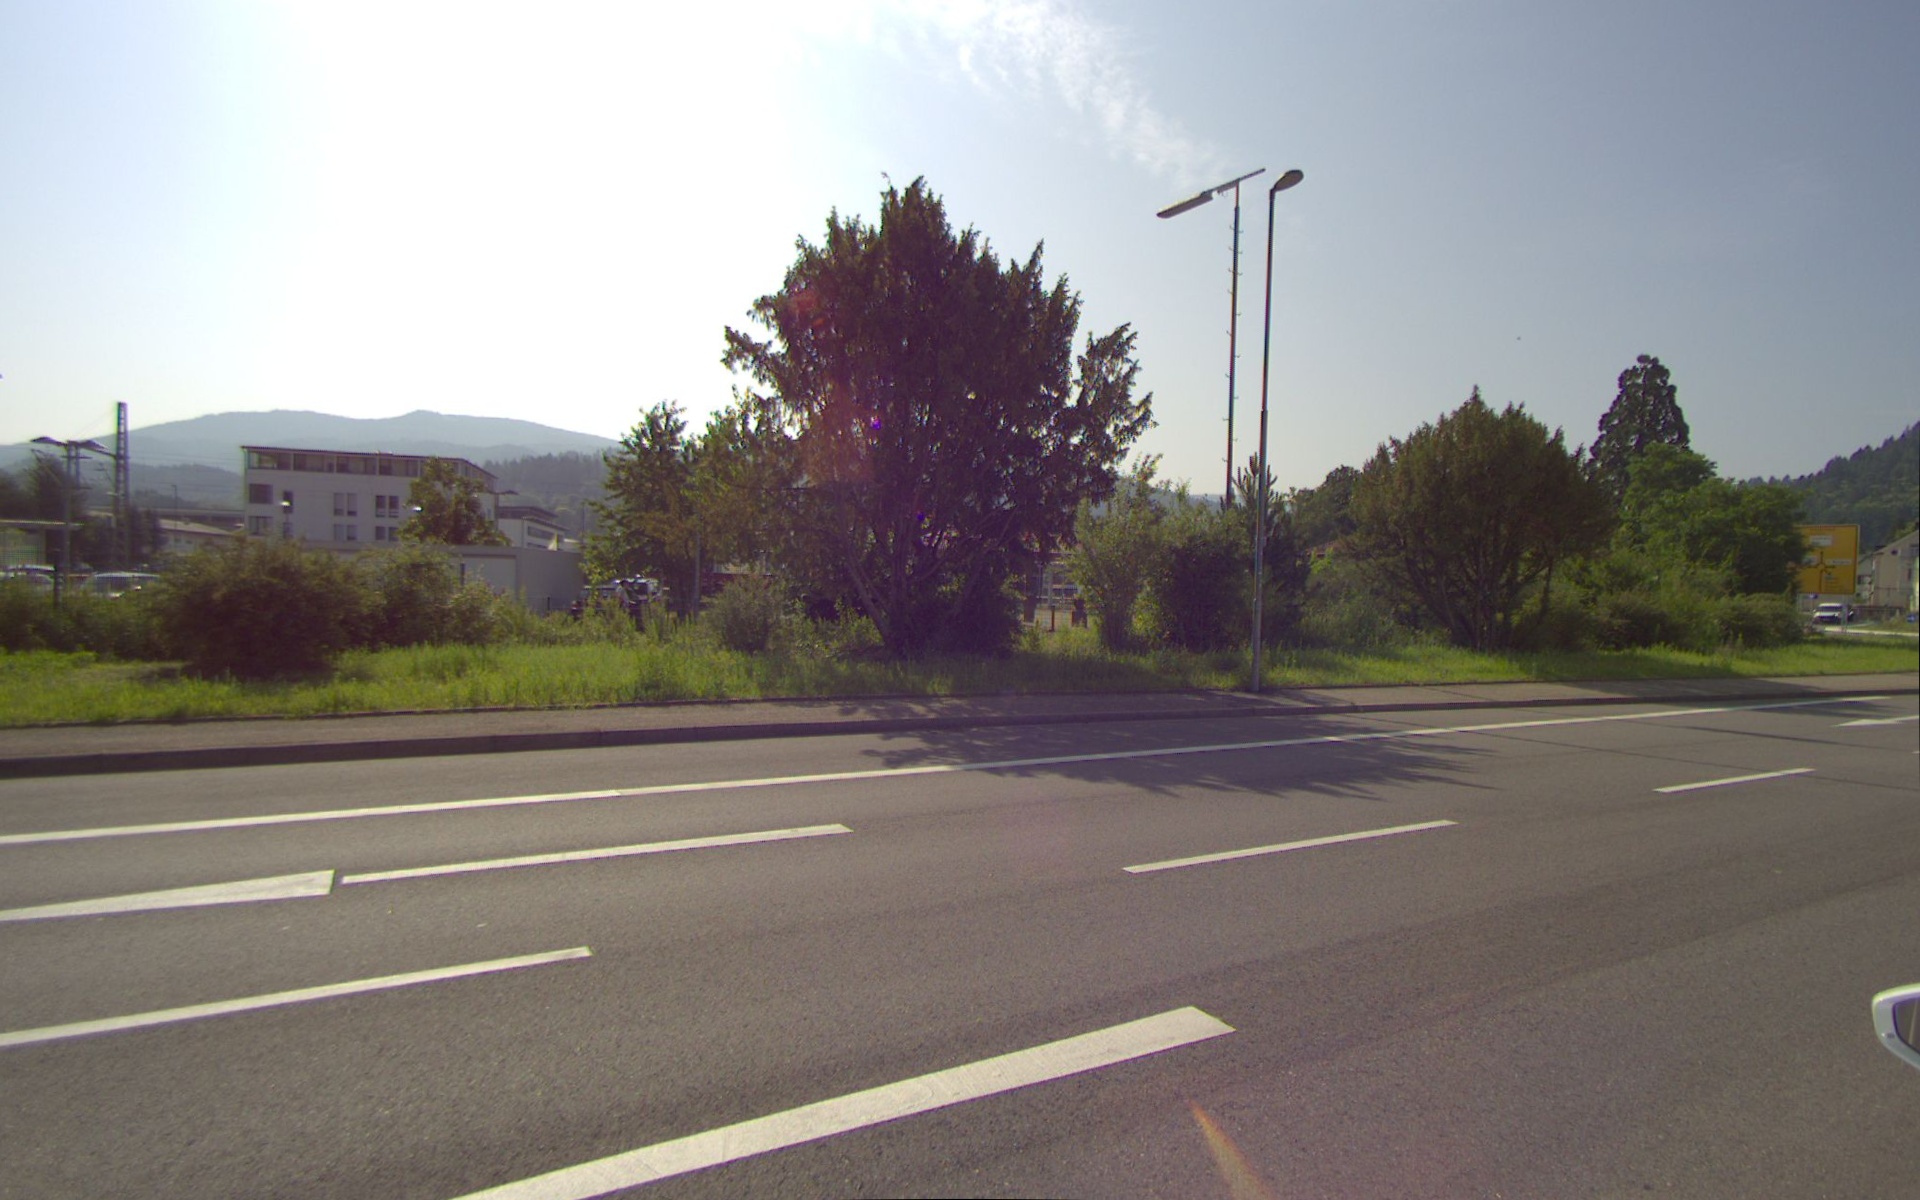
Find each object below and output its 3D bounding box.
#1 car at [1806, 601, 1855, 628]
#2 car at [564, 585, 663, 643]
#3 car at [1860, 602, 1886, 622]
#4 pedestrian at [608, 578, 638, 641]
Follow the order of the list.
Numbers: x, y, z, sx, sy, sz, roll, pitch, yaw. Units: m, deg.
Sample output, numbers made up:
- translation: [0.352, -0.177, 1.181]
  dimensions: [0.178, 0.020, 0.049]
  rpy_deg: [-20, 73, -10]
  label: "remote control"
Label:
- translation: [75.057, 1.234, 86.617]
  dimensions: [4.550, 2.106, 1.797]
  rpy_deg: [-2, 4, -31]
  label: "car"
- translation: [-10.603, 0.410, 31.055]
  dimensions: [1.851, 1.627, 3.998]
  rpy_deg: [2, 0, -4]
  label: "car"
- translation: [98.602, 1.313, 108.536]
  dimensions: [1.787, 2.041, 3.982]
  rpy_deg: [2, 1, 39]
  label: "car"
- translation: [-9.543, 0.269, 28.449]
  dimensions: [0.643, 1.739, 0.551]
  rpy_deg: [2, 0, -4]
  label: "pedestrian"
